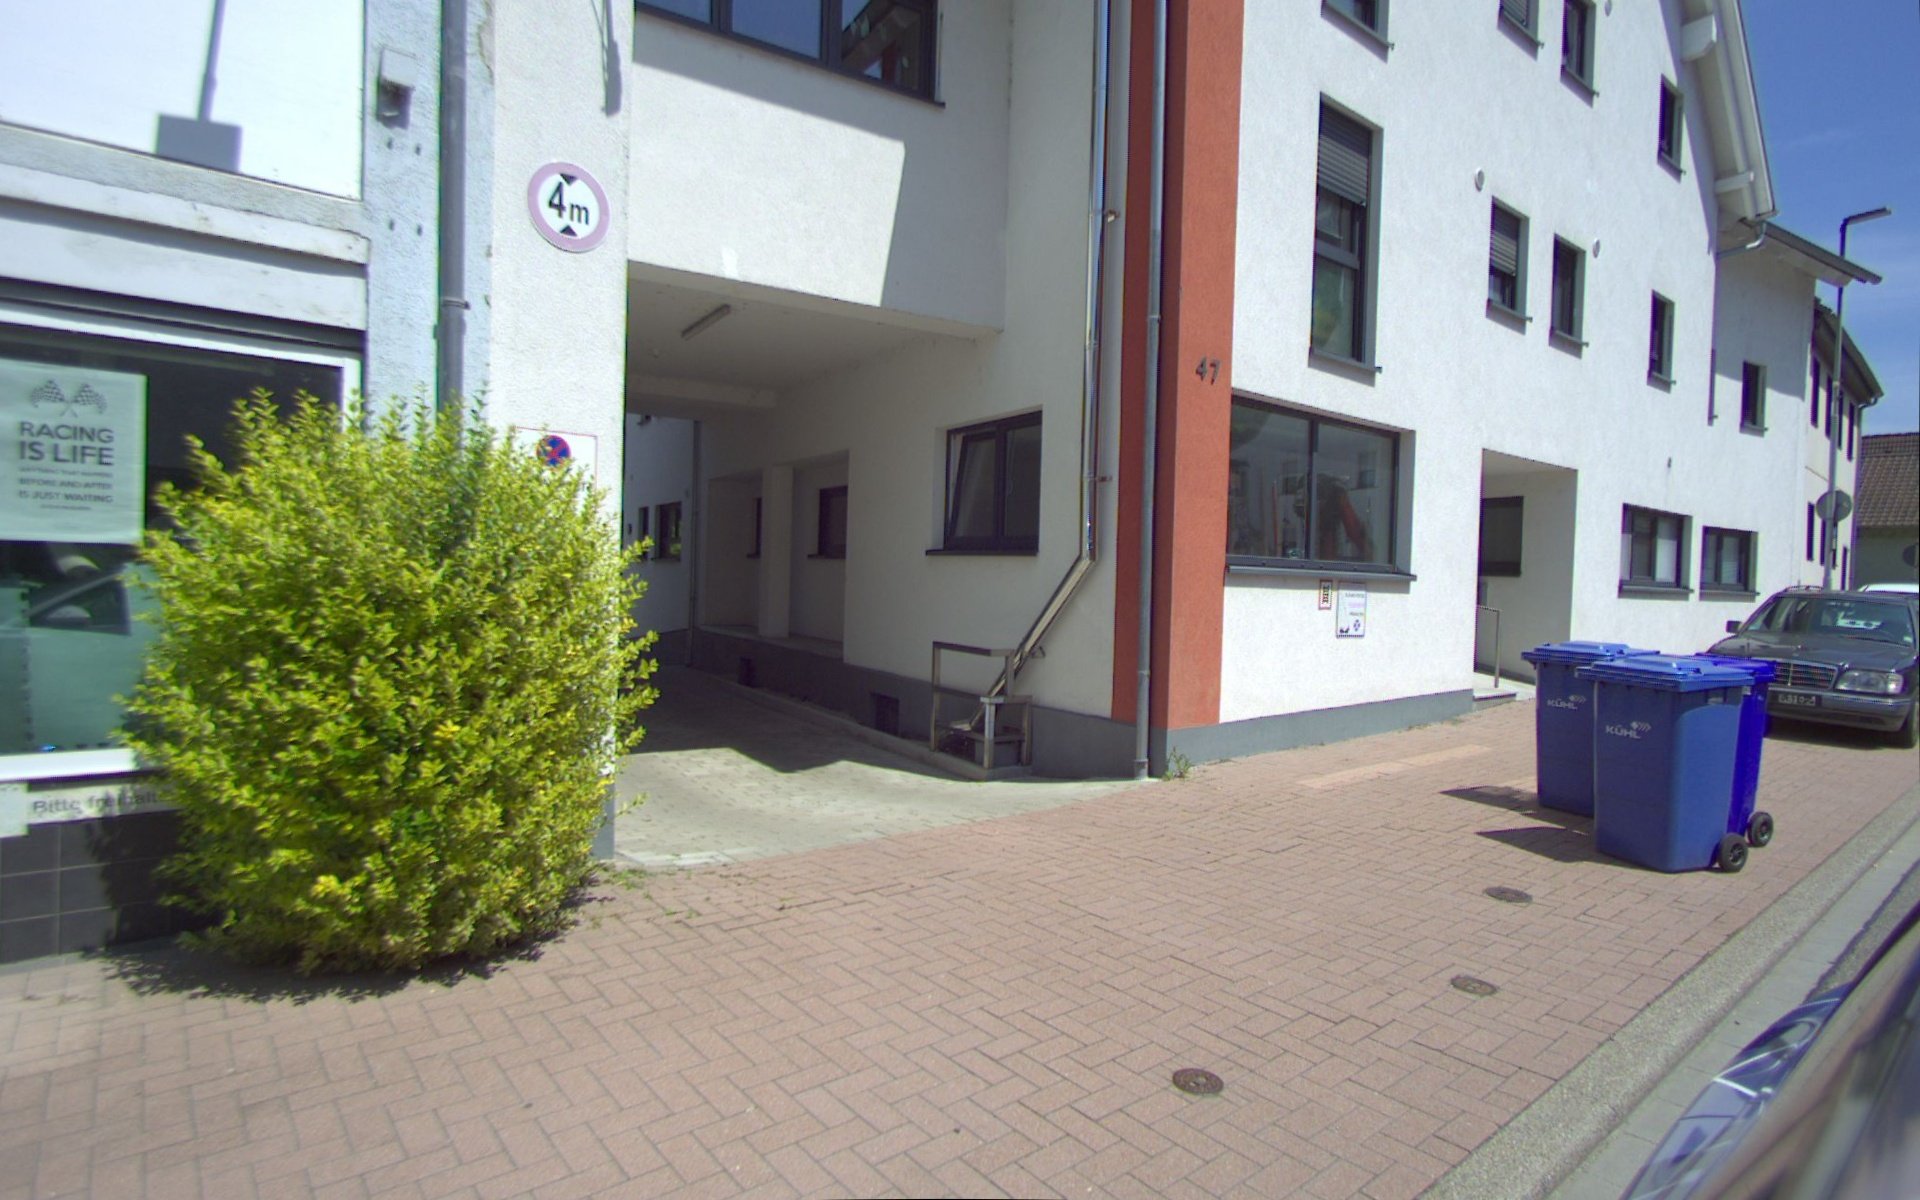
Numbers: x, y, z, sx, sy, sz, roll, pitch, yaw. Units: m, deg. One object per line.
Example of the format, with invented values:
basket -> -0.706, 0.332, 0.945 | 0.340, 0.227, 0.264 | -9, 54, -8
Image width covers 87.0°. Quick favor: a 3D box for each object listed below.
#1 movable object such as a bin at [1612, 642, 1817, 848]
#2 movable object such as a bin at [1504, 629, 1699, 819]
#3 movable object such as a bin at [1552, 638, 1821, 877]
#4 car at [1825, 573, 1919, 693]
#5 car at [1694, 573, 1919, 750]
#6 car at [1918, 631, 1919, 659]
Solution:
movable object such as a bin -> 4.356, 0.797, 5.868 | 0.670, 1.047, 0.659 | 1, 3, -24
movable object such as a bin -> 4.097, 0.755, 6.483 | 0.818, 1.073, 0.658 | 1, 3, -24
movable object such as a bin -> 3.850, 0.779, 5.390 | 0.951, 1.086, 0.726 | 1, 3, -24
car -> 14.022, 0.449, 14.702 | 3.482, 1.540, 1.611 | 0, 4, -40
car -> 9.819, 0.524, 11.067 | 4.750, 1.464, 1.705 | 0, 4, -40
car -> 20.563, 0.395, 20.037 | 4.468, 1.633, 1.806 | 1, 3, -41
